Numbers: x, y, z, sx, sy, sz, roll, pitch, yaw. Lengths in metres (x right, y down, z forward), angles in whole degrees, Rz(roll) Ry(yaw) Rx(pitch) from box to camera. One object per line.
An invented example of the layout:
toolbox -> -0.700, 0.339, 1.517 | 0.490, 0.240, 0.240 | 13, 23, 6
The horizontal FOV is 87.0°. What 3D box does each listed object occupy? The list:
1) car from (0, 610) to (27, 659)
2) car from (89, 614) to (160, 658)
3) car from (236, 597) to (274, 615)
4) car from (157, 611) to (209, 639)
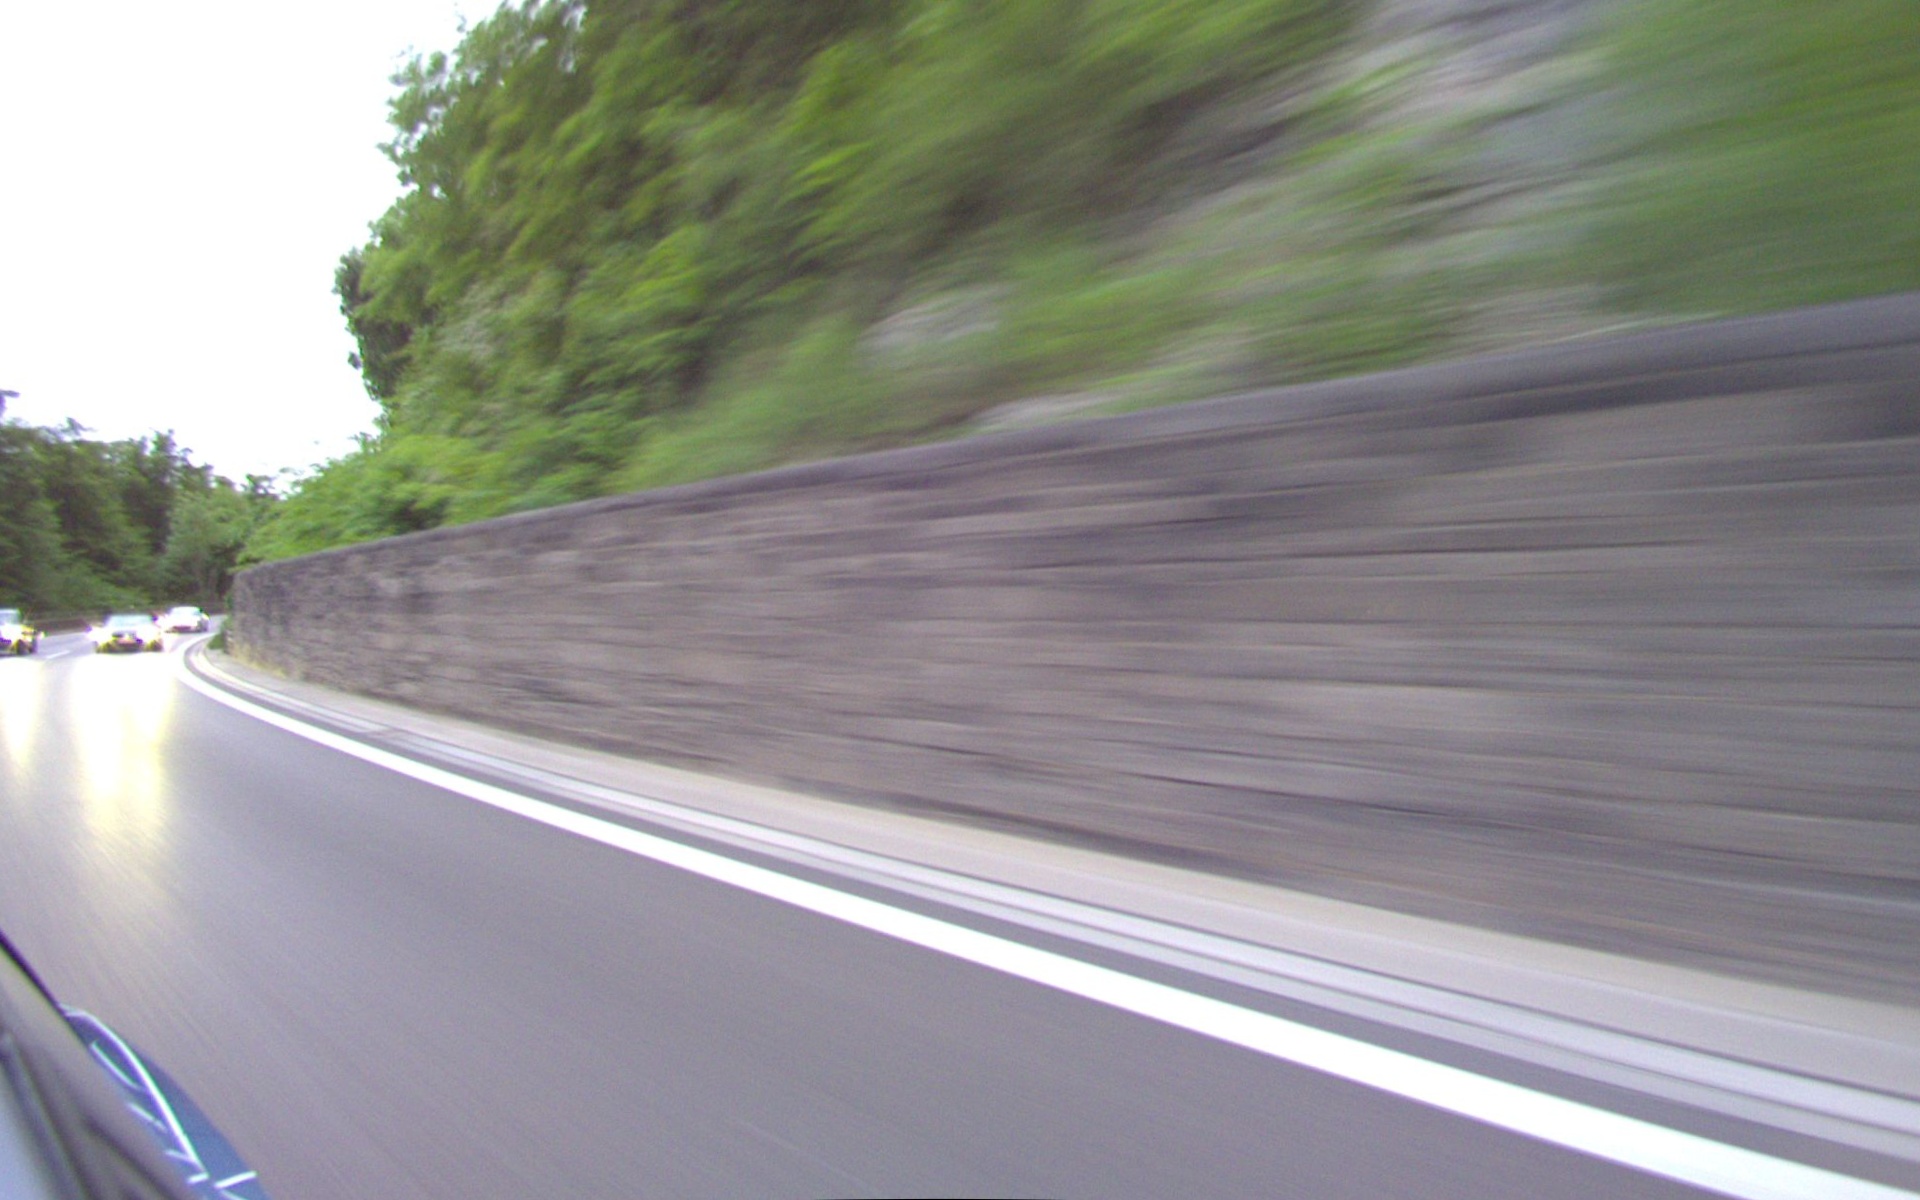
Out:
car -> -34.533, 1.245, 35.942 | 1.970, 1.652, 4.005 | -3, 1, -42
car -> -31.550, 1.316, 38.251 | 1.968, 1.519, 4.007 | 1, -1, -40
car -> -67.727, 0.588, 97.259 | 1.966, 1.630, 4.013 | -2, 1, -20
car -> -46.687, 1.455, 60.889 | 1.966, 1.519, 4.012 | -3, 1, -31
